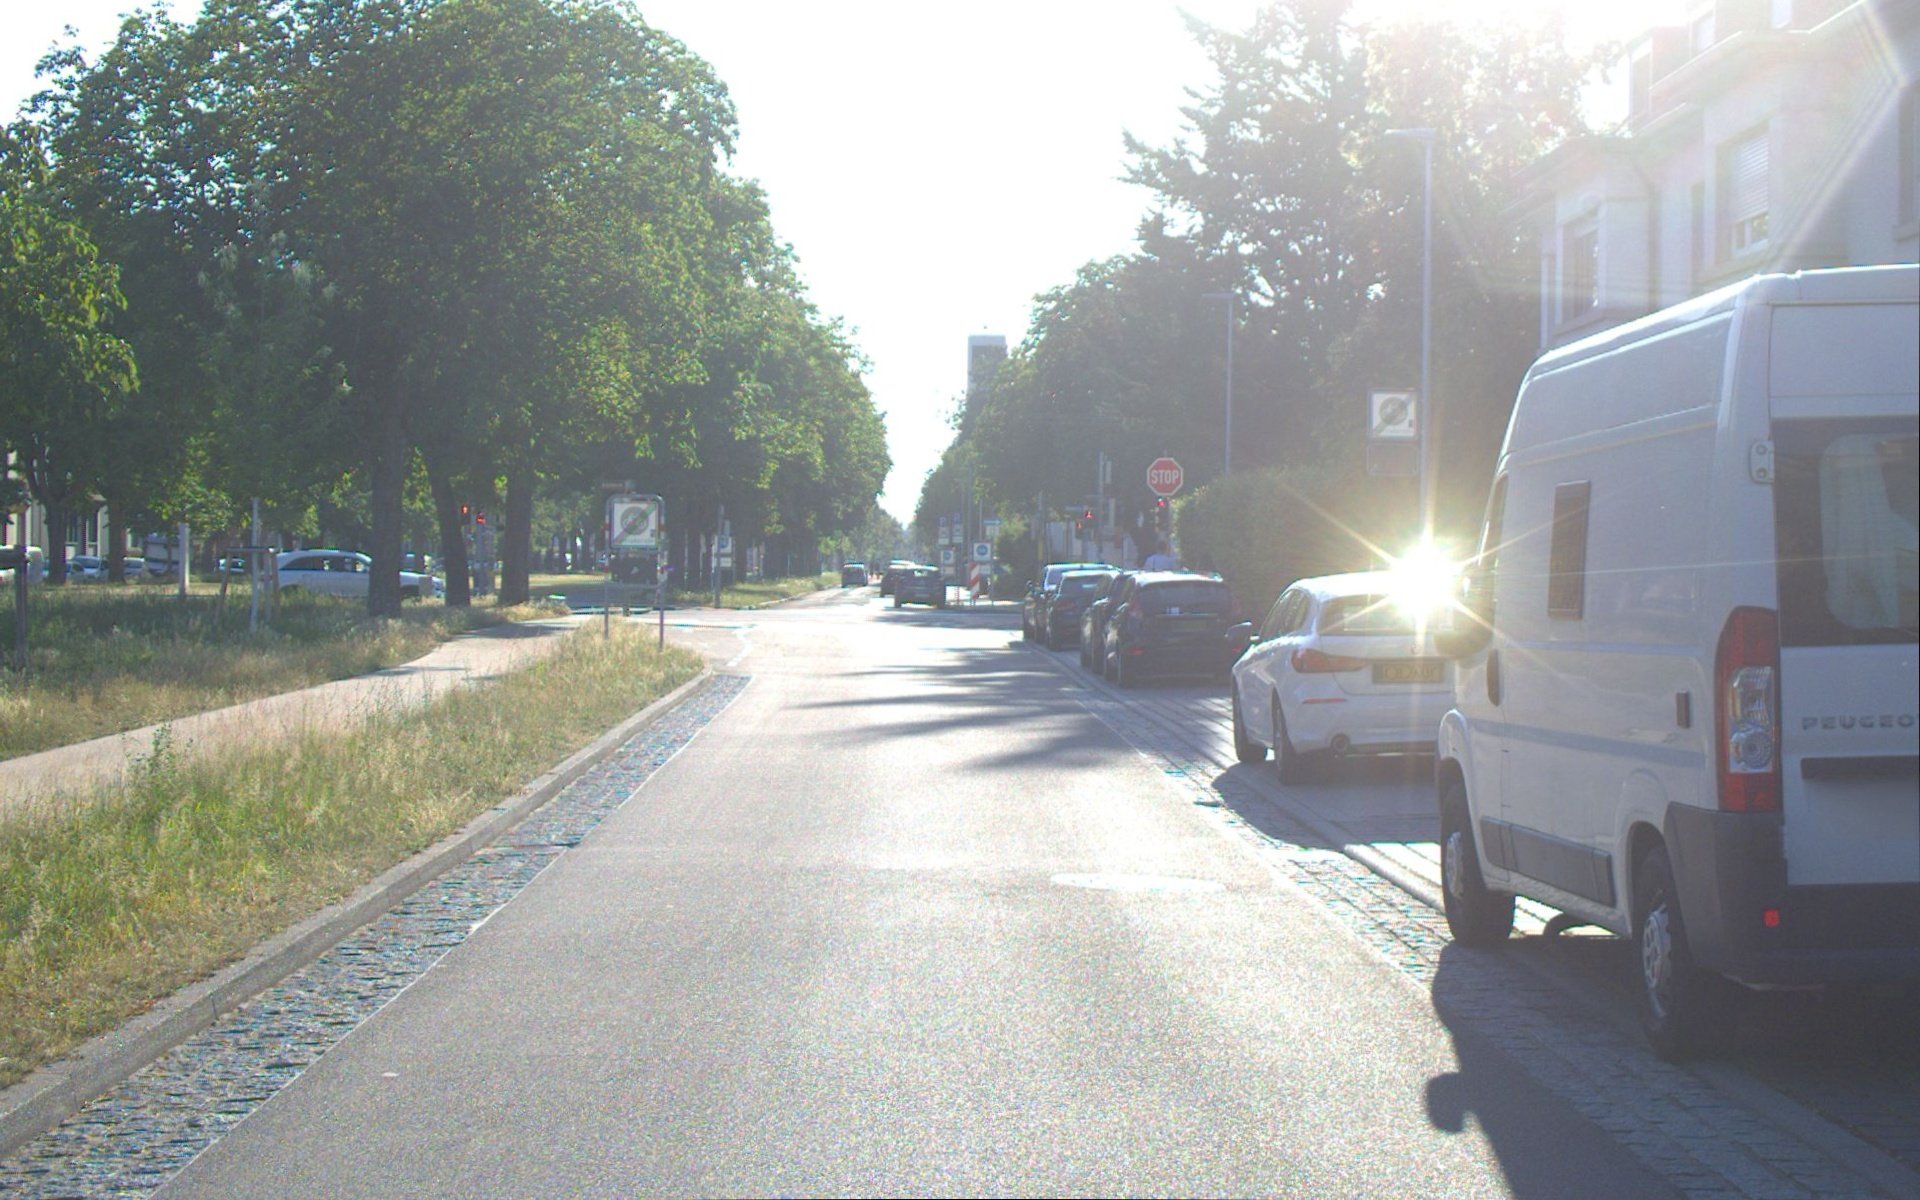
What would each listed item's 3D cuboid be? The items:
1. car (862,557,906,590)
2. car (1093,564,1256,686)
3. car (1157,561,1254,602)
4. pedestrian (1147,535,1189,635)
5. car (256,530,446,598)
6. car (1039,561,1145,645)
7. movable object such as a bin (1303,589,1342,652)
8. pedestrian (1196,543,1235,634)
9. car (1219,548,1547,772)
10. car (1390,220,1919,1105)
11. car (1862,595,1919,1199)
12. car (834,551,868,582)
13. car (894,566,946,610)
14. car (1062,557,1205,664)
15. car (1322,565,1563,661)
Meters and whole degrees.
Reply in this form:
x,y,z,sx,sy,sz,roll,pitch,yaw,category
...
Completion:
x,y,z,sx,sy,sz,roll,pitch,yaw,category
-3.361,-1.166,152.274,1.845,1.389,3.829,2,1,0,car
2.742,0.295,44.726,1.718,1.466,3.984,-2,1,-2,car
9.948,-0.764,139.488,3.779,1.520,1.744,1,2,-1,car
3.940,-0.292,65.168,0.670,1.859,0.882,1,1,-1,pedestrian
-15.105,-0.906,85.260,4.409,1.671,1.898,0,1,-19,car
2.321,0.025,61.228,1.641,1.423,3.936,-1,1,-1,car
6.114,0.349,58.027,0.507,1.039,0.659,1,1,-6,movable object such as a bin
4.839,-0.228,65.101,0.669,1.702,0.623,1,1,2,pedestrian
3.061,0.380,25.680,1.782,1.502,4.234,1,1,-2,car
3.134,0.156,12.581,2.129,2.509,5.509,1,1,-3,car
3.097,0.749,6.695,1.622,1.477,4.108,0,1,0,car
-7.335,-2.262,231.064,2.134,2.007,3.901,2,1,0,car
-1.370,-0.432,118.132,1.641,1.446,3.307,1,1,1,car
2.494,0.119,50.333,1.746,1.469,4.256,1,1,-2,car
7.825,0.195,55.924,3.634,1.491,1.781,-1,0,-1,car
